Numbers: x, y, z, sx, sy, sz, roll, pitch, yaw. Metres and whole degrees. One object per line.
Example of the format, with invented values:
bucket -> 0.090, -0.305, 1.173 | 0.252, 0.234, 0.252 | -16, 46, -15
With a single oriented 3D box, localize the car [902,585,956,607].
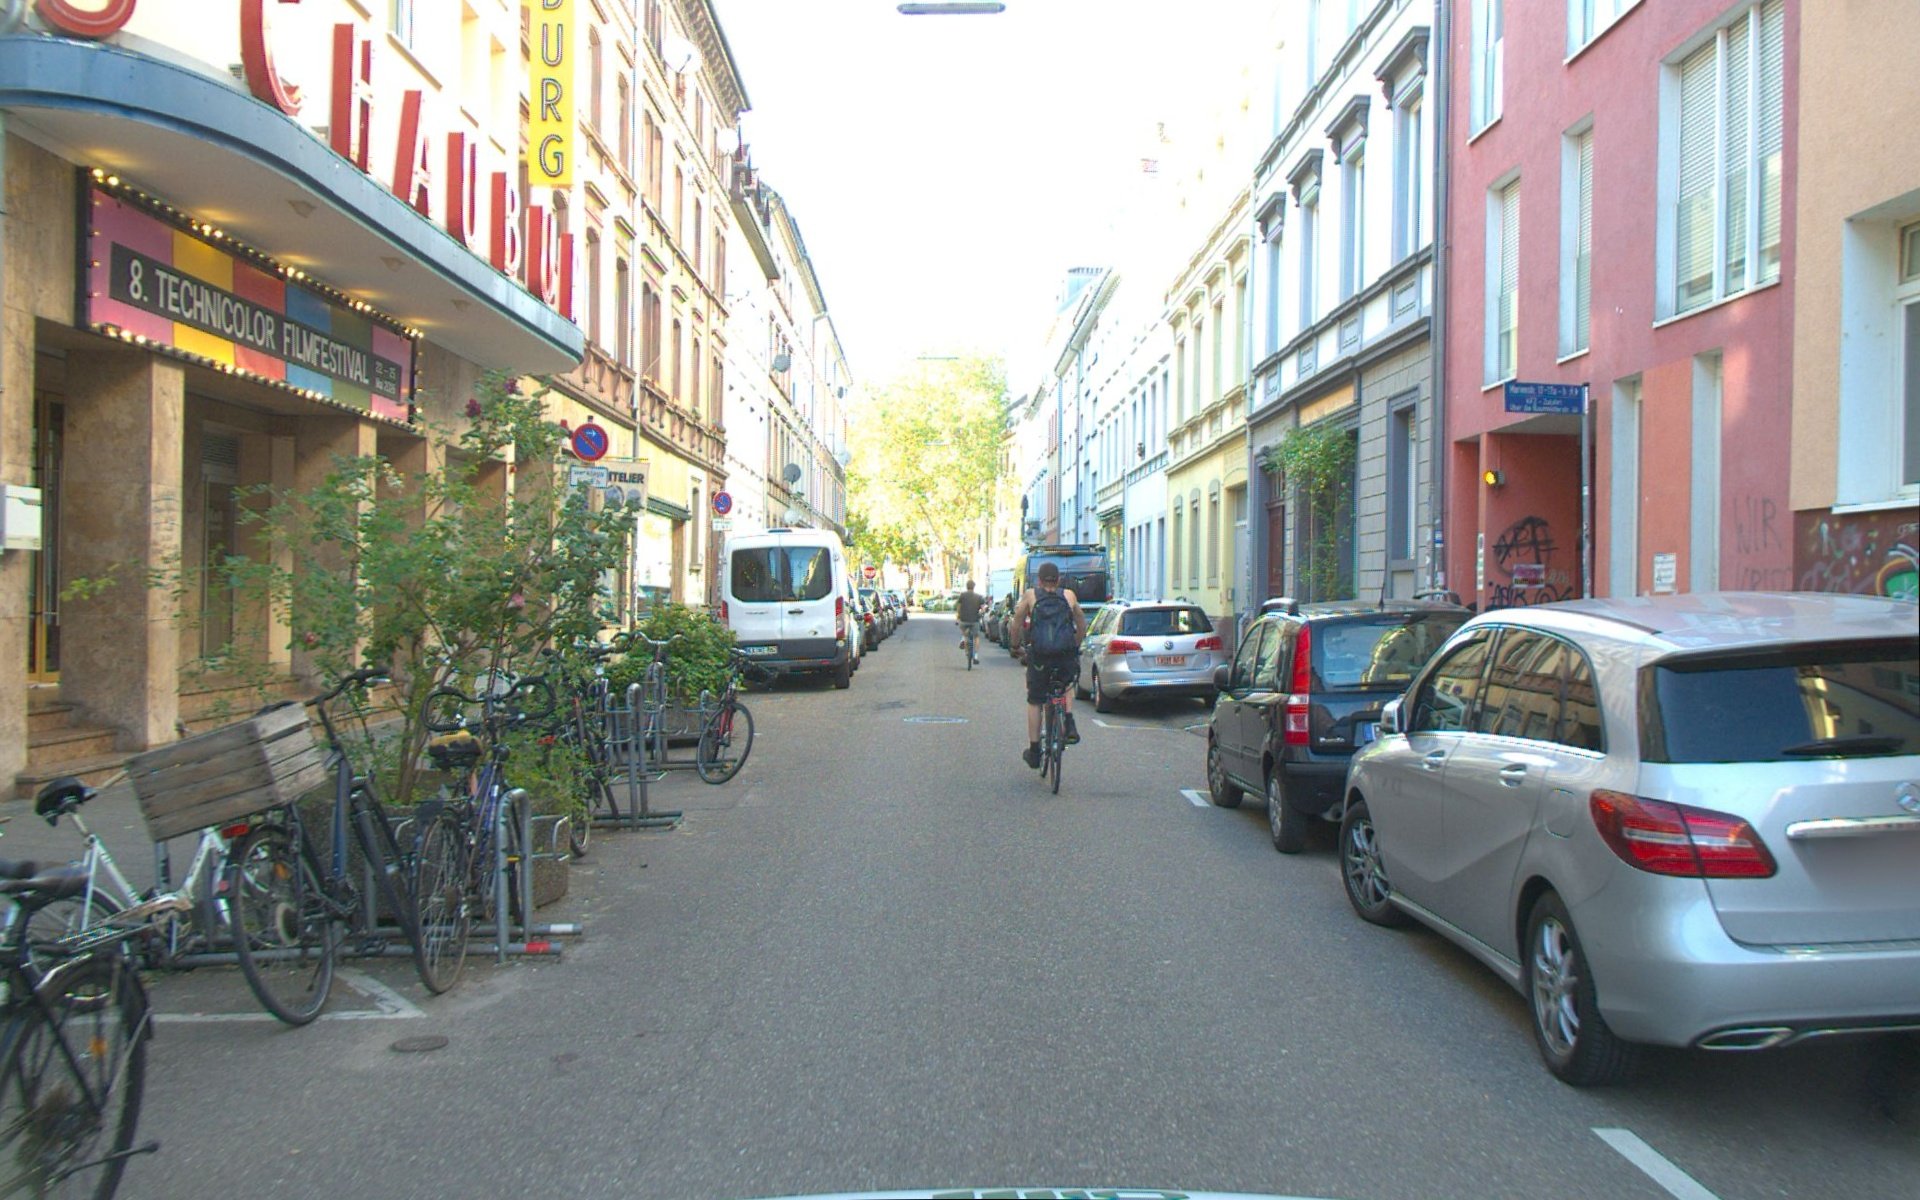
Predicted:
car -> -2.558, -0.322, 135.887 | 4.382, 1.790, 1.864 | 0, 0, -6

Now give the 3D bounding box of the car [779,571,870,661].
car -> -3.142, 0.341, 39.148 | 1.790, 1.925, 4.613 | -2, 0, -1

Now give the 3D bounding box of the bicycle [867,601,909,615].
bicycle -> -4.594, 0.507, 105.854 | 2.662, 0.908, 0.618 | 0, 0, -4

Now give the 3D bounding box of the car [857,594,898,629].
car -> -3.555, 0.475, 71.870 | 1.671, 1.438, 4.301 | 0, 0, -1

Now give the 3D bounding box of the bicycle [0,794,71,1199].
bicycle -> -1.807, 0.904, 1.993 | 0.489, 1.125, 1.829 | 1, 0, -1

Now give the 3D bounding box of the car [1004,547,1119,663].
car -> 2.283, 0.093, 38.846 | 2.131, 2.468, 6.307 | -1, 0, -1

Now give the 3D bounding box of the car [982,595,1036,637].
car -> 1.748, 0.544, 59.917 | 1.690, 1.454, 3.830 | 0, 0, -2

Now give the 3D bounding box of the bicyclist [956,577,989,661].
bicyclist -> 0.253, 0.373, 33.693 | 0.656, 1.687, 0.877 | 0, 0, -1

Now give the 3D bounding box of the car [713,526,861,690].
car -> -2.842, 0.104, 28.504 | 2.124, 2.495, 5.919 | -1, 0, -2

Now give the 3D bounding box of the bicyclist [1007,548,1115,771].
bicyclist -> 0.799, 0.458, 13.419 | 0.725, 1.708, 1.116 | 2, 0, -1

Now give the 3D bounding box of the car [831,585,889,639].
car -> -3.400, 0.379, 56.858 | 1.764, 1.728, 3.999 | -2, 0, -1

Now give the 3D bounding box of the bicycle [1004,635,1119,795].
bicycle -> 0.787, 0.886, 13.425 | 0.725, 1.120, 2.041 | 2, 0, -1

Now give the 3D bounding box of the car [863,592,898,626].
car -> -3.698, 0.398, 76.827 | 1.573, 1.557, 3.377 | -1, 0, -3

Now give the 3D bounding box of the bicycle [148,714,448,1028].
bicycle -> -2.519, 0.984, 6.471 | 0.542, 0.960, 1.571 | 0, 0, 0

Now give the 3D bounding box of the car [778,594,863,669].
car -> -2.864, 0.609, 34.559 | 1.612, 1.472, 3.838 | 0, 0, -3

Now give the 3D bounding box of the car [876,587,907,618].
car -> -3.955, 0.160, 96.400 | 1.751, 1.767, 3.875 | 0, 0, -1

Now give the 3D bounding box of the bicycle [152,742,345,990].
bicycle -> -2.979, 1.079, 7.013 | 0.251, 0.832, 1.299 | 1, 0, 0

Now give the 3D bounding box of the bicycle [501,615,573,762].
bicycle -> -3.710, 0.745, 14.572 | 0.332, 1.194, 1.489 | 2, 0, -5

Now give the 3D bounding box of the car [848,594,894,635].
car -> -3.300, 0.527, 61.839 | 1.559, 1.465, 3.653 | 0, 0, 0

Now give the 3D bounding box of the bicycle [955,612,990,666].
bicycle -> 0.245, 0.786, 33.788 | 0.650, 1.055, 1.958 | 0, 0, -1

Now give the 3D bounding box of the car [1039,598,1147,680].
car -> 2.550, 0.707, 32.544 | 1.712, 1.469, 4.171 | 1, 0, -1

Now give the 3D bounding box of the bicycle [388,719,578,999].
bicycle -> -1.930, 1.012, 6.834 | 0.382, 0.932, 1.393 | 0, 0, 0

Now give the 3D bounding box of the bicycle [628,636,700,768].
bicycle -> -2.671, 0.892, 15.044 | 0.433, 1.066, 1.863 | 2, 0, -5

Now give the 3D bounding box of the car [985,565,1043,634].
car -> 2.096, -0.024, 65.368 | 2.159, 2.595, 6.037 | 0, 0, 1

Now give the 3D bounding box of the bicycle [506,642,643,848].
bicycle -> -2.396, 0.859, 10.454 | 0.535, 1.113, 1.880 | 2, 0, -5

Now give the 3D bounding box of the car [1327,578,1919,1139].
car -> 2.827, 0.726, 6.775 | 1.710, 1.583, 4.171 | 1, 0, 0

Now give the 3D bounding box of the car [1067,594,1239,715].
car -> 2.647, 0.699, 23.649 | 1.750, 1.479, 4.545 | -2, 0, -2

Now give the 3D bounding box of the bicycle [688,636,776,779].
bicycle -> -1.949, 0.877, 13.995 | 0.453, 1.066, 1.742 | 2, 0, -17

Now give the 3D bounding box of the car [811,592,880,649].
car -> -3.133, 0.533, 45.842 | 1.825, 1.465, 4.642 | 0, 1, -3

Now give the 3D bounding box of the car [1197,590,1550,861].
car -> 2.711, 0.741, 11.588 | 1.569, 1.566, 3.450 | -2, 0, 0

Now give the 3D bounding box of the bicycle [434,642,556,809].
bicycle -> -3.285, 0.863, 11.779 | 0.562, 1.063, 1.408 | 1, 0, -5

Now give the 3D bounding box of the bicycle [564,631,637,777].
bicycle -> -3.245, 0.907, 15.002 | 0.391, 1.194, 1.668 | 2, 0, -5

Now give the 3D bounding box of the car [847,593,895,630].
car -> -3.581, 0.451, 66.810 | 1.639, 1.455, 3.889 | 0, 0, 1

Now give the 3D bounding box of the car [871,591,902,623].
car -> -3.754, 0.350, 84.202 | 1.514, 1.578, 3.462 | 0, 0, -4

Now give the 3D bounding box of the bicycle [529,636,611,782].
bicycle -> -3.136, 0.853, 13.366 | 0.409, 1.066, 1.317 | 2, 0, -4

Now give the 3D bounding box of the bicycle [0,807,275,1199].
bicycle -> -1.912, 1.001, 3.588 | 0.315, 0.932, 1.290 | 0, 0, 0

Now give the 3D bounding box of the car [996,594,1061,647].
car -> 2.030, 0.585, 50.087 | 1.711, 1.511, 4.242 | 0, 0, -1

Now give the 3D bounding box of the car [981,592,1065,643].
car -> 2.031, 0.550, 54.871 | 1.778, 1.503, 4.597 | -3, 1, -10
